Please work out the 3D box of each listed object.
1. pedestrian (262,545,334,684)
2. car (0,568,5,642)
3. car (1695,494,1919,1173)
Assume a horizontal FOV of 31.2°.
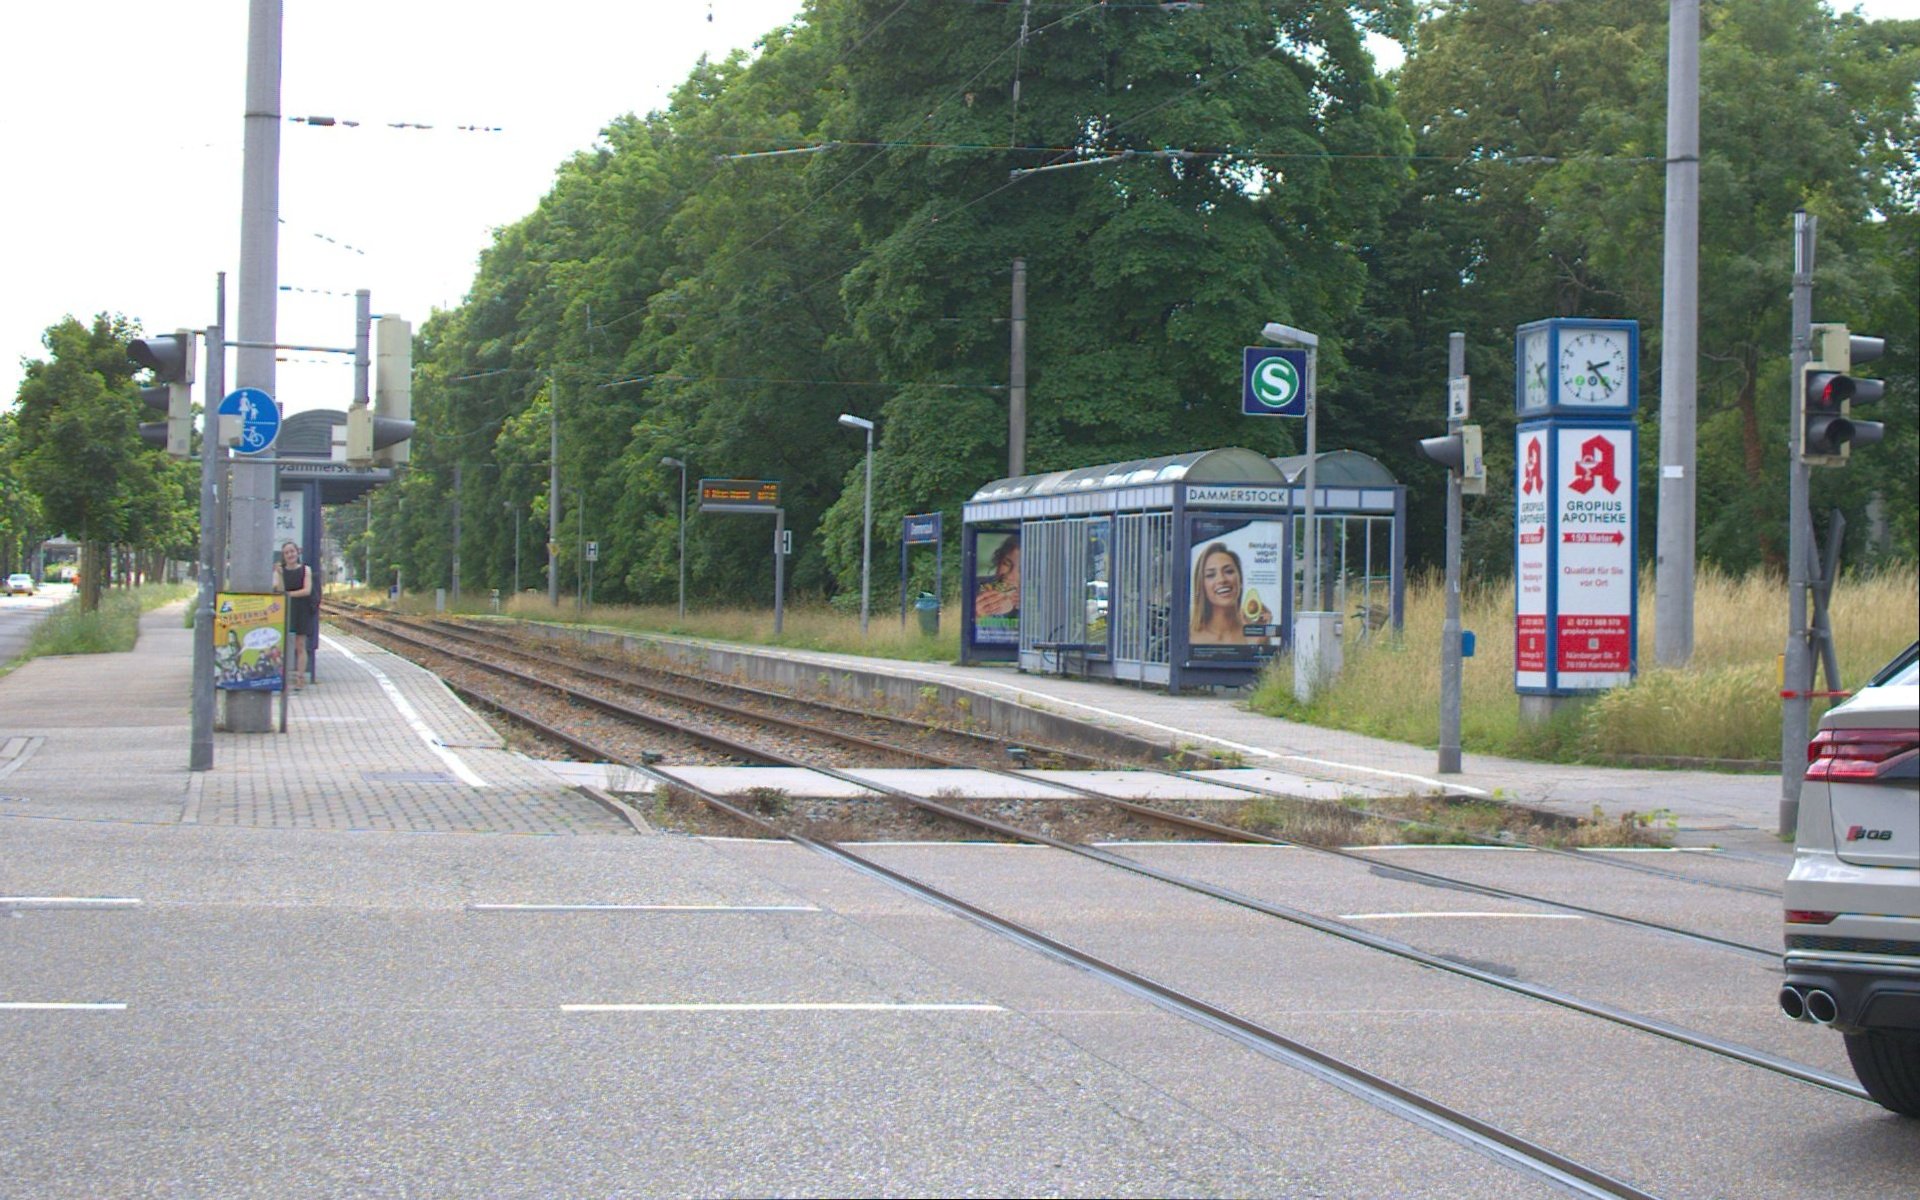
[{"bbox_3d":[-7.299,0.161,37.899,0.653,1.508,0.718,1,0,-20],"label":"pedestrian"},{"bbox_3d":[-20.335,0.080,69.303,1.785,1.520,4.302,2,0,-12],"label":"car"},{"bbox_3d":[4.294,0.612,9.785,4.561,1.678,1.987,1,0,-42],"label":"car"}]
